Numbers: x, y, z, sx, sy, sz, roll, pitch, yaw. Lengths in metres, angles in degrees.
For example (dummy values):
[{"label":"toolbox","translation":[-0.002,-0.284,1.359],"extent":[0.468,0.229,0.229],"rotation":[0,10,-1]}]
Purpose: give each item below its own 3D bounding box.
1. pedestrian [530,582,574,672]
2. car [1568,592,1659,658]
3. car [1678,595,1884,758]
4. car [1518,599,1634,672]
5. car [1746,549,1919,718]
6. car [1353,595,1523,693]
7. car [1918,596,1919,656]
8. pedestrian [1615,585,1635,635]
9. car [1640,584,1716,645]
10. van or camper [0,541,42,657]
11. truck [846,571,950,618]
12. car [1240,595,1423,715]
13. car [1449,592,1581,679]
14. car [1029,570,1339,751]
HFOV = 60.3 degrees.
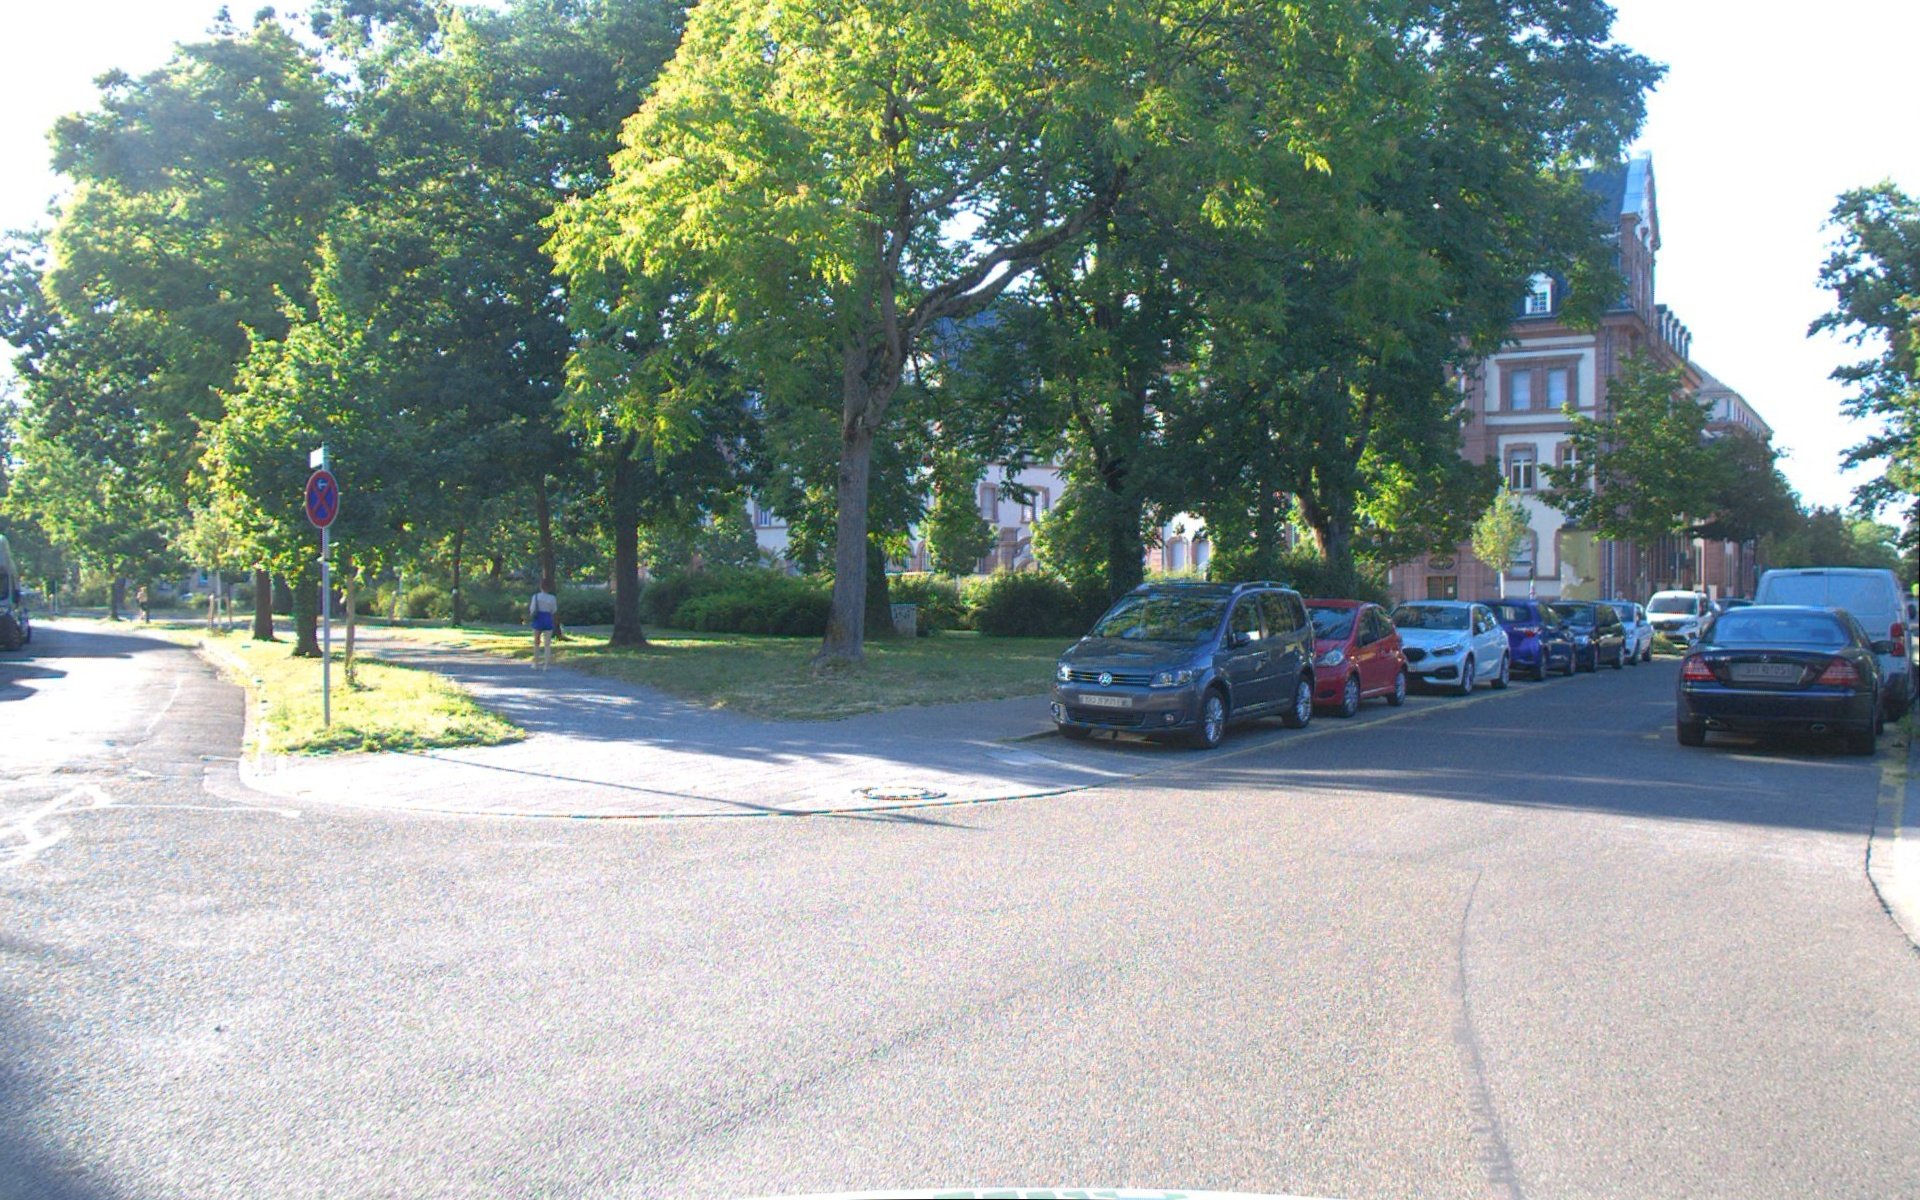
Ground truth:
[{"label":"pedestrian","translation":[-7.391,0.474,29.984],"extent":[0.760,1.602,0.765],"rotation":[0,0,-14]},{"label":"car","translation":[16.220,0.590,40.956],"extent":[1.562,1.553,3.858],"rotation":[0,0,30]},{"label":"car","translation":[8.885,0.696,17.693],"extent":[1.732,1.494,4.857],"rotation":[0,0,29]},{"label":"car","translation":[13.599,0.734,36.395],"extent":[1.524,1.520,3.930],"rotation":[0,0,34]},{"label":"car","translation":[12.051,0.400,22.739],"extent":[1.916,2.049,5.144],"rotation":[0,0,29]},{"label":"car","translation":[7.944,0.666,27.272],"extent":[1.660,1.430,3.965],"rotation":[2,1,32]},{"label":"car","translation":[26.437,0.679,41.957],"extent":[3.610,1.550,1.789],"rotation":[0,0,28]},{"label":"pedestrian","translation":[24.352,0.373,60.586],"extent":[0.587,1.815,0.945],"rotation":[0,0,28]},{"label":"car","translation":[23.102,0.428,53.164],"extent":[1.748,1.873,4.544],"rotation":[0,0,30]},{"label":"van or camper","translation":[-26.233,-0.050,44.735],"extent":[2.064,2.959,6.279],"rotation":[0,0,-26]},{"label":"truck","translation":[-4.268,-0.391,112.634],"extent":[2.592,3.082,7.881],"rotation":[0,0,-43]},{"label":"car","translation":[5.097,0.687,22.427],"extent":[1.362,1.448,3.418],"rotation":[2,1,32]},{"label":"car","translation":[10.822,0.643,32.142],"extent":[1.609,1.522,3.696],"rotation":[2,1,32]},{"label":"car","translation":[2.599,0.575,18.258],"extent":[1.769,1.705,4.310],"rotation":[2,1,32]}]
